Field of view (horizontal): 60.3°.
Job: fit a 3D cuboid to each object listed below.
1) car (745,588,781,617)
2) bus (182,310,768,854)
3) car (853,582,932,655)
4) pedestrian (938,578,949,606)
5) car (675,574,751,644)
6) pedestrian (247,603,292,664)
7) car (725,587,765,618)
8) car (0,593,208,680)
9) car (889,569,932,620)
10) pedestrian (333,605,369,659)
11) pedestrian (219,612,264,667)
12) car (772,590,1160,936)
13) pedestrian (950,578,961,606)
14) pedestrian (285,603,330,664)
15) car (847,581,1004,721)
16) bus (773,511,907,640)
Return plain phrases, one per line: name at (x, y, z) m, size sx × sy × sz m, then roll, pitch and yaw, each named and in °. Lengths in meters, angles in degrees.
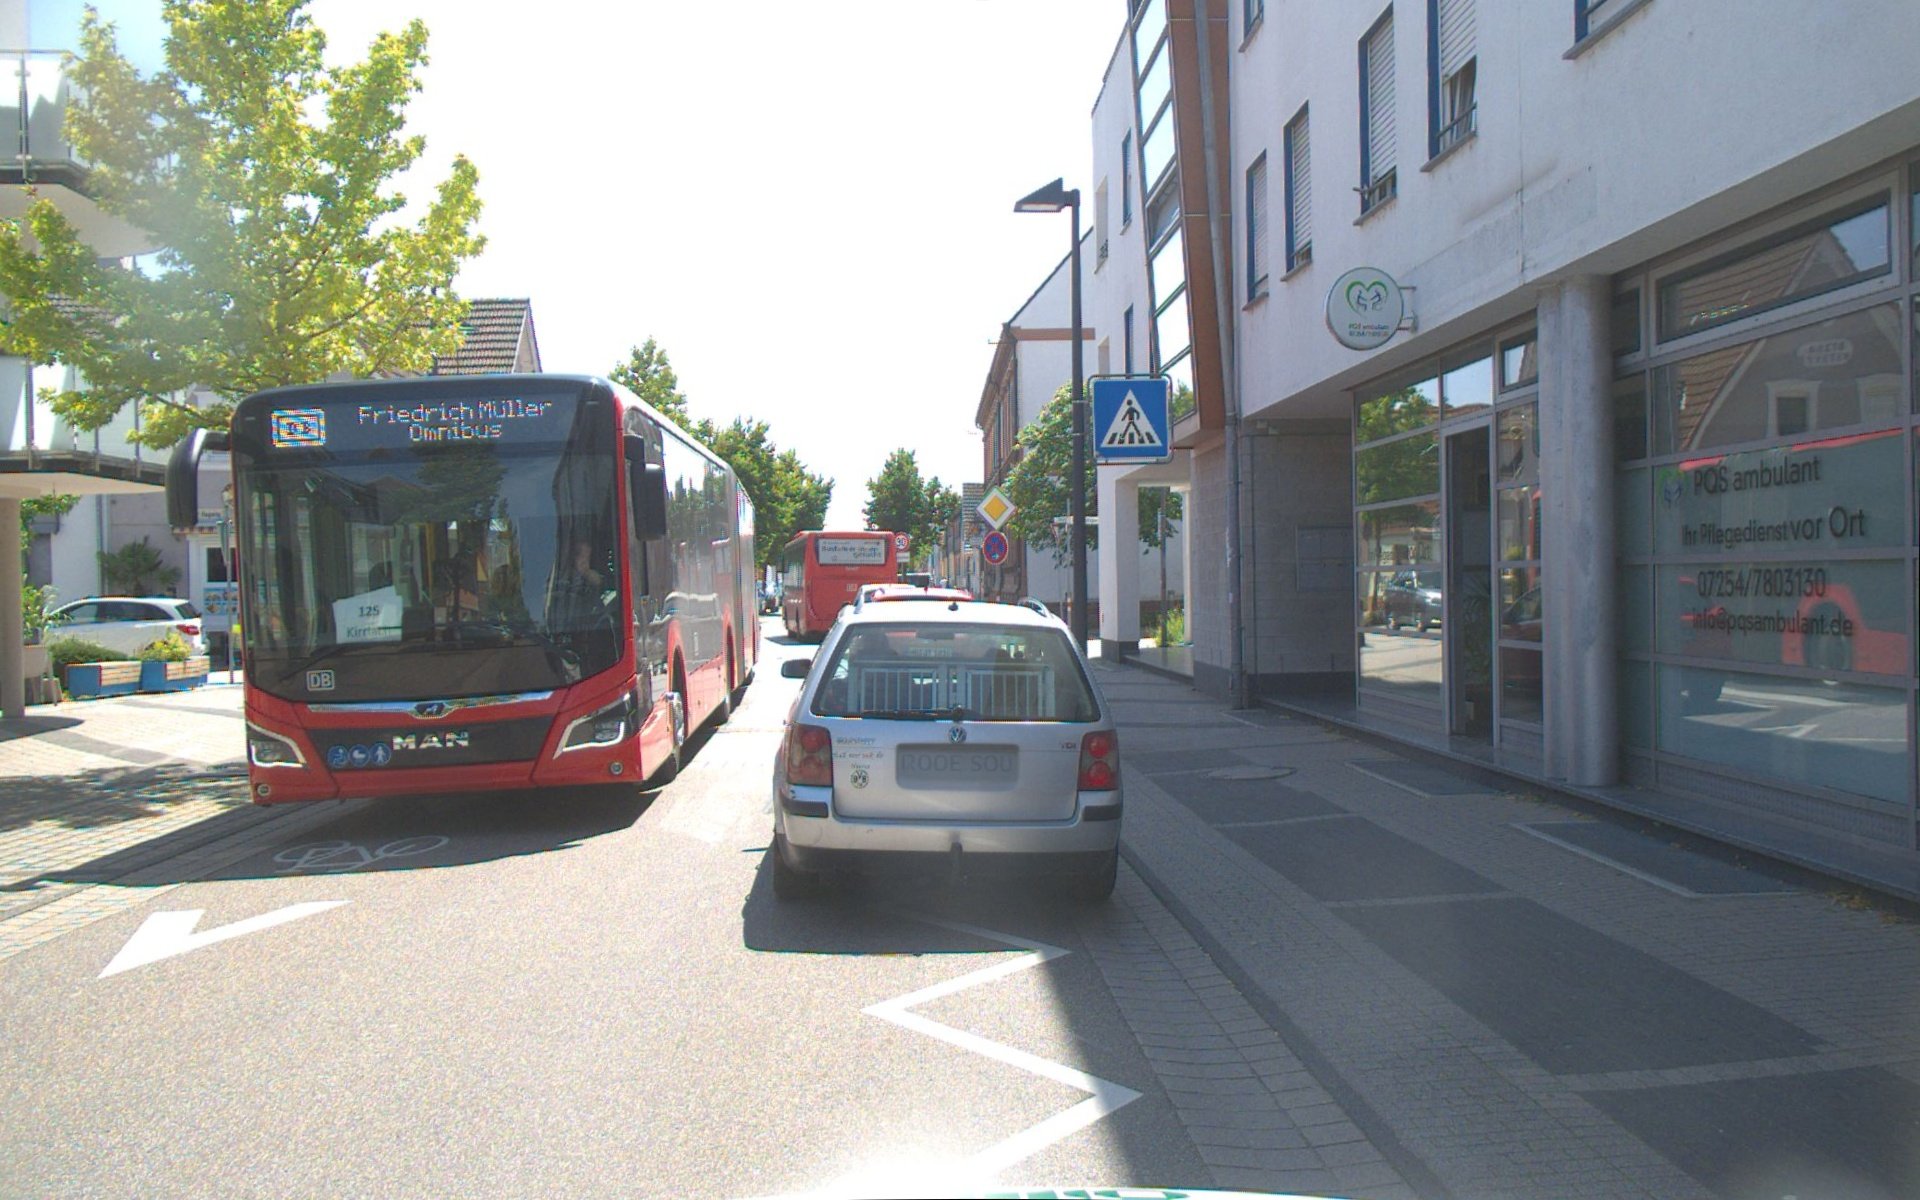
car at (-11.203, 0.118, 94.194) m, size 1.775 × 1.586 × 3.998 m, roll -1°, pitch 0°, yaw -3°
bus at (-3.893, -0.186, 18.722) m, size 2.616 × 3.178 × 17.791 m, roll -1°, pitch 0°, yaw -4°
car at (-1.407, 0.350, 34.835) m, size 1.561 × 1.455 × 3.678 m, roll 0°, pitch 0°, yaw -2°
pedestrian at (-1.006, -0.469, 101.408) m, size 0.594 × 1.696 × 0.789 m, roll -1°, pitch 0°, yaw -4°
car at (-6.576, 0.213, 44.343) m, size 1.642 × 1.746 × 4.229 m, roll -1°, pitch 1°, yaw -4°
pedestrian at (-15.179, 0.731, 36.367) m, size 0.776 × 1.311 × 0.632 m, roll 1°, pitch 0°, yaw 44°
car at (-11.376, 0.127, 87.695) m, size 1.775 × 1.586 × 3.998 m, roll -1°, pitch 0°, yaw -3°
car at (-17.562, 0.719, 33.760) m, size 3.858 × 1.572 × 1.510 m, roll -2°, pitch 2°, yaw -20°
car at (-2.167, -0.246, 72.134) m, size 1.752 × 2.118 × 3.623 m, roll -1°, pitch 0°, yaw -3°
pedestrian at (-13.739, 0.720, 37.328) m, size 0.610 × 1.199 × 0.695 m, roll -1°, pitch 0°, yaw -7°
pedestrian at (-15.459, 0.845, 35.596) m, size 0.776 × 1.135 × 0.632 m, roll 1°, pitch 0°, yaw 44°
car at (-0.060, 0.695, 8.943) m, size 1.643 × 1.455 × 3.677 m, roll 1°, pitch 0°, yaw -3°
pedestrian at (-0.285, -0.499, 101.842) m, size 0.594 × 1.696 × 0.789 m, roll -1°, pitch 0°, yaw -4°
pedestrian at (-14.227, 0.723, 36.058) m, size 0.776 × 1.311 × 0.632 m, roll 1°, pitch 0°, yaw 44°
car at (-0.459, 0.529, 19.511) m, size 1.643 × 1.455 × 3.677 m, roll -2°, pitch 0°, yaw -3°
bus at (-3.838, -0.666, 49.423) m, size 2.690 × 3.356 × 12.674 m, roll 0°, pitch 0°, yaw -10°
